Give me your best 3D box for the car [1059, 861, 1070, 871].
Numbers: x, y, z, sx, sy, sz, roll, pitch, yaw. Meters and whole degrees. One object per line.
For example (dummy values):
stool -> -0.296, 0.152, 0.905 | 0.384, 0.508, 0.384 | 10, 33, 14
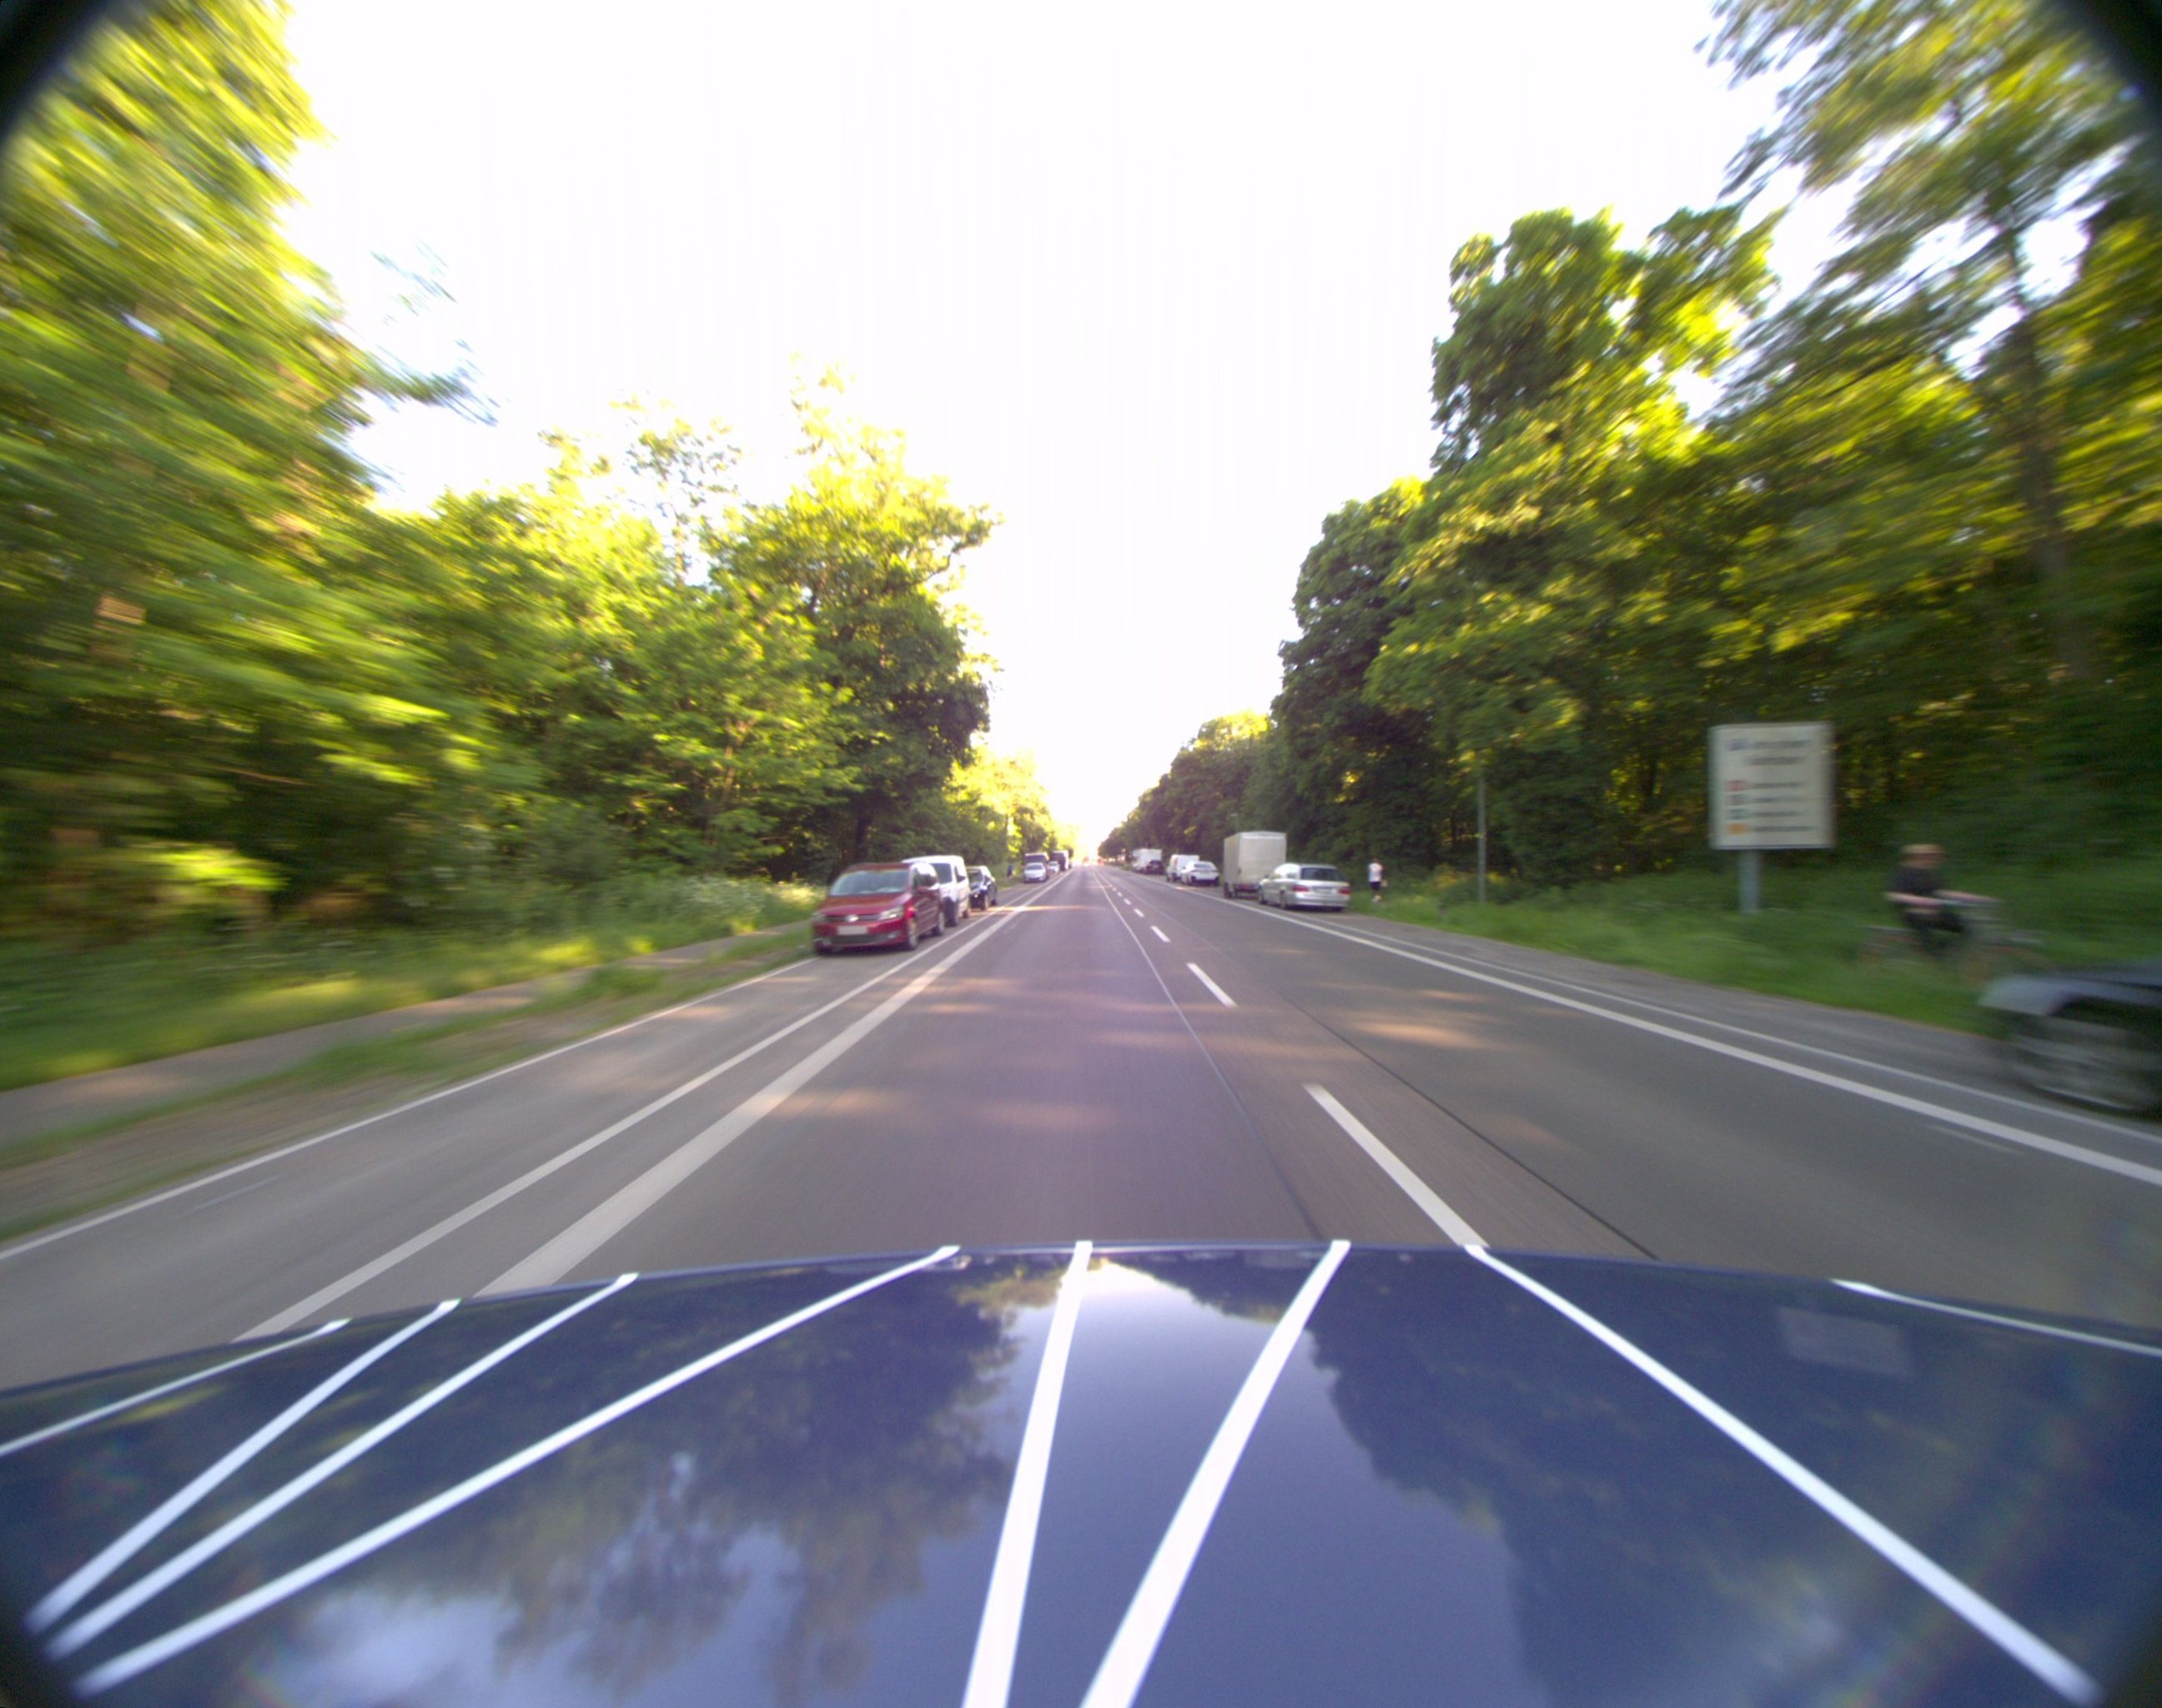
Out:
car -> -2.775, 2.020, 131.907 | 1.716, 1.559, 4.000 | -3, 0, 0

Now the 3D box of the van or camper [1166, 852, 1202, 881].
van or camper -> 7.164, 0.841, 53.069 | 1.840, 1.900, 4.856 | 0, 0, 0

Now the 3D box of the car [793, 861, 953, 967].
car -> -3.870, 1.034, 14.980 | 1.839, 1.651, 4.338 | -3, 0, 1

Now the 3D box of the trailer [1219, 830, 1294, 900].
trailer -> 6.955, 0.405, 30.629 | 1.998, 2.582, 4.416 | 1, 0, 1

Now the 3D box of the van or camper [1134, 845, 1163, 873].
van or camper -> 7.713, 0.571, 87.531 | 2.321, 2.952, 7.110 | 1, 0, -2

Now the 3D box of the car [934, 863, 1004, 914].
car -> -3.781, 1.145, 26.367 | 1.694, 1.515, 4.149 | -3, 0, 1

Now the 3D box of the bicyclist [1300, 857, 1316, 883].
bicyclist -> 10.931, 0.758, 36.608 | 0.488, 1.228, 0.974 | -1, 0, 1

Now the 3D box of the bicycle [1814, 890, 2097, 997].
bicycle -> 10.011, 0.964, 8.884 | 0.698, 0.981, 2.283 | -1, 0, 1

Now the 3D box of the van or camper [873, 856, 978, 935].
van or camper -> -3.996, 0.986, 20.279 | 1.956, 1.805, 4.380 | -2, 0, -2

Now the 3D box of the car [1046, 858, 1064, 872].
car -> -2.950, 1.222, 87.713 | 1.716, 1.536, 4.023 | -3, 0, 2

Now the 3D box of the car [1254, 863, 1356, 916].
car -> 6.930, 1.044, 24.030 | 1.802, 1.445, 4.625 | 1, 0, -1

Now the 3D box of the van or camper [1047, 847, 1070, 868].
van or camper -> -3.209, 0.489, 106.998 | 2.449, 2.783, 6.552 | -1, -1, -8

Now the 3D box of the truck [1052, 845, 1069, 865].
truck -> -3.722, 0.154, 140.364 | 2.840, 3.477, 8.578 | -1, 0, 0

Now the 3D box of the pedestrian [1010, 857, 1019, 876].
pedestrian -> -6.923, 1.264, 78.889 | 0.770, 1.907, 0.920 | -1, 0, 1

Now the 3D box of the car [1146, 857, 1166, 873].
car -> 7.691, 1.132, 78.456 | 1.650, 1.622, 4.273 | 1, 0, 1

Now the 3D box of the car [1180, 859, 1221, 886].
car -> 7.161, 1.069, 45.858 | 1.779, 1.531, 4.524 | 1, 0, 0

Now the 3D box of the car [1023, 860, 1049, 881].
car -> -3.491, 1.281, 59.438 | 1.752, 1.506, 3.999 | -3, 0, -1

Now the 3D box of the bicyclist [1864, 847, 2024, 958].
bicyclist -> 10.021, 0.537, 8.873 | 0.700, 1.214, 1.024 | -1, 0, 1

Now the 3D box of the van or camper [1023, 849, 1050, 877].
van or camper -> -3.855, 0.791, 66.974 | 2.040, 2.298, 6.041 | 0, 0, 0

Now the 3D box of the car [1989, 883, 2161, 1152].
car -> 6.874, 0.934, 2.869 | 1.736, 1.469, 4.324 | 1, 0, 1

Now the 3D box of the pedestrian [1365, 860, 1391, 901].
pedestrian -> 11.414, 1.002, 29.250 | 0.716, 1.558, 0.700 | -1, 0, 1
